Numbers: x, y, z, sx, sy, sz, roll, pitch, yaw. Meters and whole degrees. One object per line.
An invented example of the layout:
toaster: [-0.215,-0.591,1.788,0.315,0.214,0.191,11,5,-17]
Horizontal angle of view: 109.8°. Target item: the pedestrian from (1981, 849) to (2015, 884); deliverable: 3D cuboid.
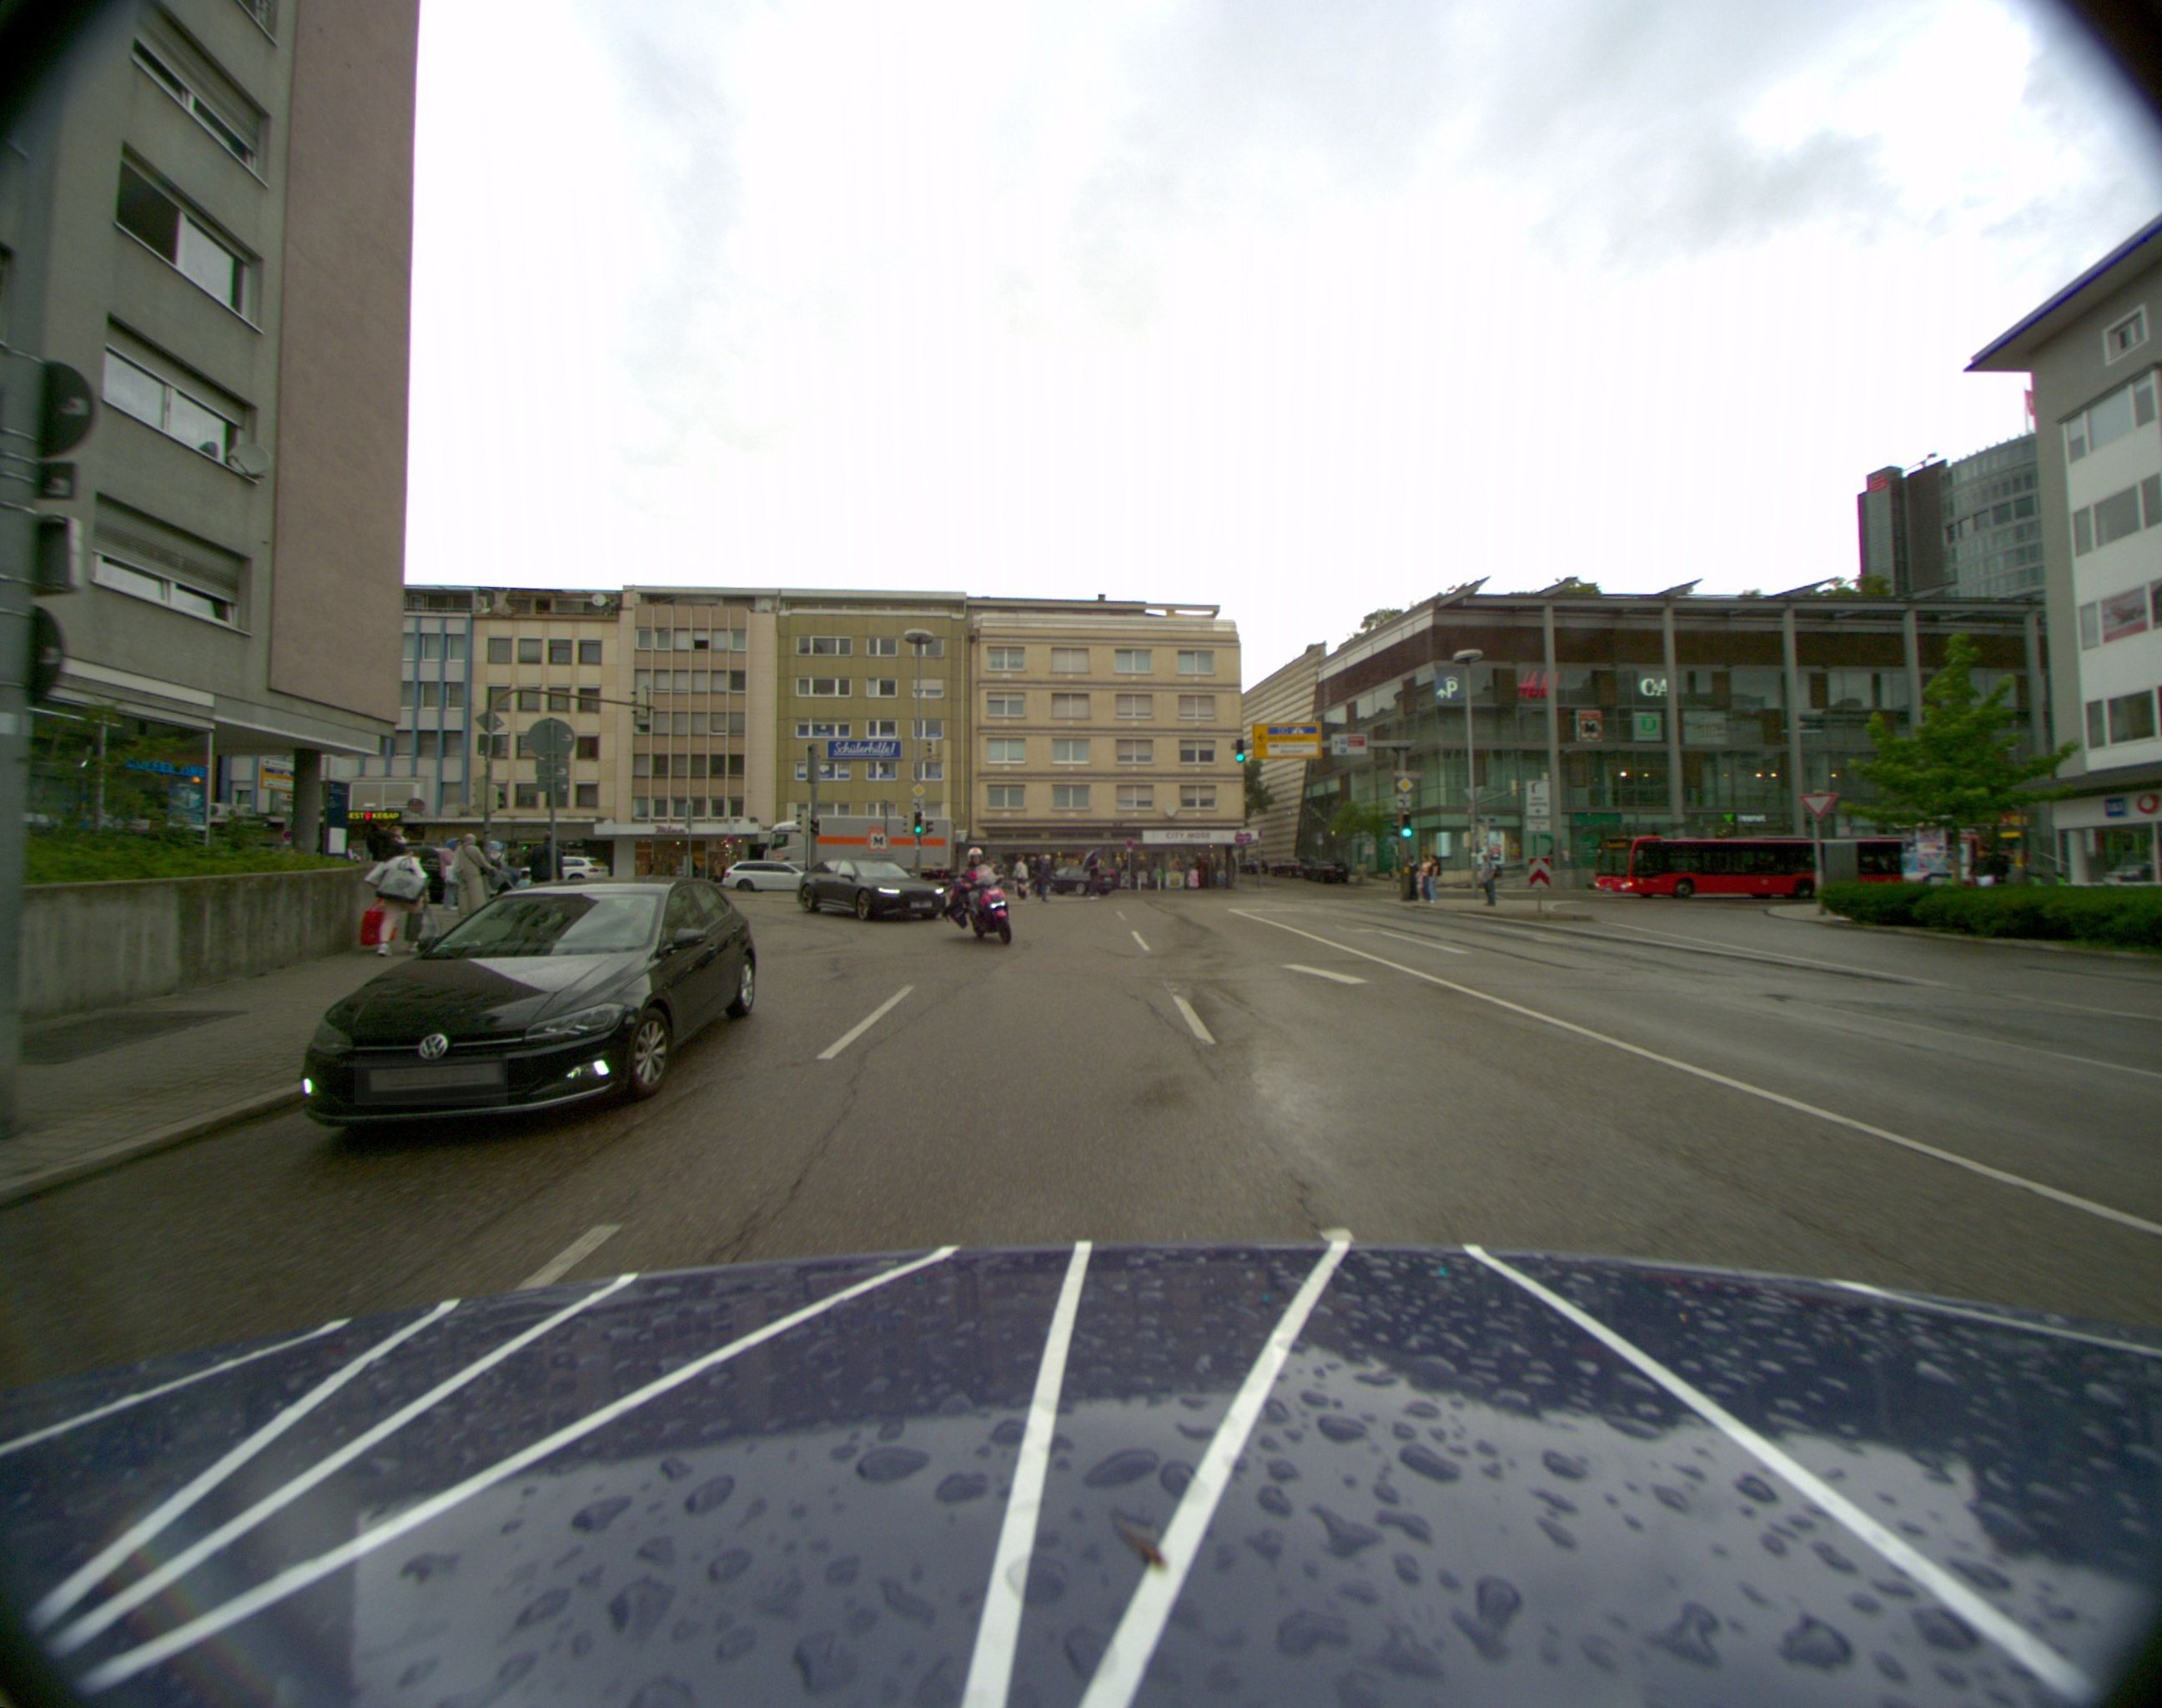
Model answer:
pedestrian: [47.331,0.646,39.238,0.627,1.792,0.906,1,0,1]

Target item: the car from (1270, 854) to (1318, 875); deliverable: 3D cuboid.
car: [17.662,0.841,63.253,1.899,1.537,4.375,-2,1,-14]

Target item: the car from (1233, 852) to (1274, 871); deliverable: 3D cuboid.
car: [15.897,0.666,70.278,1.899,1.537,4.375,-2,1,-14]

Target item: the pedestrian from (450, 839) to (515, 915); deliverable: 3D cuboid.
pedestrian: [-13.642,0.536,17.350,0.838,1.626,0.541,5,-5,-4]

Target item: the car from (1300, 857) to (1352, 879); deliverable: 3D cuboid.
car: [18.551,1.031,57.755,1.806,1.537,4.291,0,0,-14]

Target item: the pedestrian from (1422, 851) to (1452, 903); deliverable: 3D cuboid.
pedestrian: [11.789,0.751,25.185,0.638,1.679,0.784,0,0,5]

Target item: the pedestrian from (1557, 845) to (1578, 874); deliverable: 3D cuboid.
pedestrian: [33.272,0.398,52.010,0.849,1.968,0.877,1,0,-5]

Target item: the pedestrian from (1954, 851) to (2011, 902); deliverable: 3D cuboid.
pedestrian: [31.969,0.778,26.960,0.800,1.765,1.024,1,0,-10]

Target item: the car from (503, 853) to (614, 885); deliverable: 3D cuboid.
car: [-30.035,0.863,43.778,4.961,1.816,1.855,1,-1,-4]

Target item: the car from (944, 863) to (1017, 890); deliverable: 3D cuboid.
car: [-5.969,1.347,45.463,4.199,1.554,1.705,0,-1,-3]

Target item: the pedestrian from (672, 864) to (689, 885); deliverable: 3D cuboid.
pedestrian: [-24.737,1.267,46.935,0.720,1.242,0.536,0,0,-6]

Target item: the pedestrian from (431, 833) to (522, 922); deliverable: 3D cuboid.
pedestrian: [-12.021,0.473,15.148,0.837,1.711,1.040,1,-3,13]

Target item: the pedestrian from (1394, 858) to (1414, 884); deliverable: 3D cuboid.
pedestrian: [22.256,1.177,52.310,0.696,1.751,1.046,1,-1,-33]

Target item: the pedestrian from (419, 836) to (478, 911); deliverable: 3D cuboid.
pedestrian: [-14.199,0.440,17.068,0.594,1.624,0.747,2,-4,37]

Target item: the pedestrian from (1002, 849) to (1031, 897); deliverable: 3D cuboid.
pedestrian: [-2.290,0.674,27.098,0.914,1.662,0.981,0,0,1]

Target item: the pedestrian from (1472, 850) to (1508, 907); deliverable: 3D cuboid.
pedestrian: [12.999,0.768,24.167,0.617,1.768,0.831,0,0,-10]

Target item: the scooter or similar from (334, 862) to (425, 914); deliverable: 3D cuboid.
scooter or similar: [-14.507,0.715,15.748,1.048,0.980,0.773,4,-3,-5]

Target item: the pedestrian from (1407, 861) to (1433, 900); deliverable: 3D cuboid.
pedestrian: [11.786,0.919,26.420,0.588,1.331,0.631,0,0,-10]

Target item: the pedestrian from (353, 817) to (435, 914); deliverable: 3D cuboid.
pedestrian: [-13.724,0.258,15.208,0.658,1.852,0.839,4,-4,0]

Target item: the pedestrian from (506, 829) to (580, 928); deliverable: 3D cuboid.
pedestrian: [-10.576,0.489,14.957,0.785,1.855,0.619,4,-4,12]

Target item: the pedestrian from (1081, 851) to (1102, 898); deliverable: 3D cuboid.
pedestrian: [0.391,0.756,28.171,0.693,1.682,0.759,2,0,0]

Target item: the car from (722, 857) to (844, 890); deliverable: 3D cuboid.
car: [-12.991,0.861,33.366,4.630,1.407,1.798,0,-1,-5]

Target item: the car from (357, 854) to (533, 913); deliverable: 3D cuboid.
car: [-17.835,0.768,21.330,4.095,1.538,1.875,0,0,18]

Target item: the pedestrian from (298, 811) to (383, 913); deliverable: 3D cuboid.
pedestrian: [-14.475,0.168,14.870,0.731,1.919,0.821,2,-2,4]

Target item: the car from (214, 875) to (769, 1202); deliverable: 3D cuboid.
car: [-3.826,1.000,5.916,1.744,1.423,3.875,-1,2,-10]

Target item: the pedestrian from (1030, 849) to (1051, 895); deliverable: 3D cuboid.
pedestrian: [-1.534,0.678,28.766,0.706,1.701,0.786,2,0,0]

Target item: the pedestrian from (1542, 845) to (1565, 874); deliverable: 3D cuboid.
pedestrian: [32.310,0.384,51.963,0.974,1.968,0.883,1,0,-5]

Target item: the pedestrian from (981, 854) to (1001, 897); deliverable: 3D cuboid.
pedestrian: [-3.147,0.751,26.512,0.560,1.479,0.707,2,0,0]

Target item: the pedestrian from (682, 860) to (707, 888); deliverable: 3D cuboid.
pedestrian: [-23.544,1.188,46.310,1.086,1.685,0.954,0,0,-6]

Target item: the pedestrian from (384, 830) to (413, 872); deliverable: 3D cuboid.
pedestrian: [-13.658,-0.063,15.209,0.440,0.842,0.221,1,1,17]

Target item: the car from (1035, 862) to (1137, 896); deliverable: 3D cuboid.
car: [0.212,1.199,36.665,4.620,1.417,2.005,1,-2,39]

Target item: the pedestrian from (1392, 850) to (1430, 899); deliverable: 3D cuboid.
pedestrian: [12.084,0.746,27.819,0.853,1.777,1.012,0,0,-10]

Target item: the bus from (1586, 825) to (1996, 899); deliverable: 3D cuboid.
bus: [35.301,0.435,38.086,18.468,3.301,2.929,1,0,-3]

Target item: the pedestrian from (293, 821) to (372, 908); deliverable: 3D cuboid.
pedestrian: [-15.339,0.224,15.589,0.617,1.711,0.839,3,-2,4]

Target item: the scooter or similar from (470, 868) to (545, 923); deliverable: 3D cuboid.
scooter or similar: [-11.862,0.862,15.742,0.654,1.102,0.975,1,-3,15]

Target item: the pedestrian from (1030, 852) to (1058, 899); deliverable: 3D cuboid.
pedestrian: [-1.265,0.738,26.086,0.854,1.559,0.715,1,0,0]

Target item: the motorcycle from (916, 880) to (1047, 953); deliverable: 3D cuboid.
motorcycle: [-1.805,1.052,13.506,1.317,1.128,2.179,2,-1,-40]

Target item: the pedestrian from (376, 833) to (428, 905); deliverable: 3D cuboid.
pedestrian: [-16.321,0.365,18.275,0.780,1.681,0.629,1,-3,31]

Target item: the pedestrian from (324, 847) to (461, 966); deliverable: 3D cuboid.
pedestrian: [-9.393,0.699,10.432,1.060,1.522,1.025,3,0,-24]

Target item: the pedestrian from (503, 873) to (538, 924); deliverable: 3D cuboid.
pedestrian: [-11.369,0.902,15.422,0.471,0.993,0.262,1,-6,19]

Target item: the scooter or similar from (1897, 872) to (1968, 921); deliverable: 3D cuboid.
scooter or similar: [21.653,1.068,19.350,0.543,1.179,1.386,0,-2,16]

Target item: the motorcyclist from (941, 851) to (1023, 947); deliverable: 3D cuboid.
motorcyclist: [-1.746,0.767,13.430,1.096,1.595,0.950,1,-1,-41]

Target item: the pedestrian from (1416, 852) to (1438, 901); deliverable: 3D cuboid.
pedestrian: [11.769,0.758,25.853,0.501,1.659,0.571,0,-1,3]

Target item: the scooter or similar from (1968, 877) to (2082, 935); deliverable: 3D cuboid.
scooter or similar: [23.121,1.256,18.666,0.929,1.248,1.504,-8,-3,15]

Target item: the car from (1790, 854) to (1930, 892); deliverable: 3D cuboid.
car: [44.632,1.085,43.629,5.907,2.063,2.451,0,0,-6]

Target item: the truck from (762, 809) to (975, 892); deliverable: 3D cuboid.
truck: [-11.342,-0.146,41.385,10.766,4.307,2.855,0,-1,-3]

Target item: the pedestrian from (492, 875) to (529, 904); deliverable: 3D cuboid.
pedestrian: [-11.829,0.739,15.755,0.457,0.567,0.373,1,-3,15]

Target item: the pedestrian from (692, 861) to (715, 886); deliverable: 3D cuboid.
pedestrian: [-22.858,1.165,45.984,1.065,1.475,0.668,0,0,-6]

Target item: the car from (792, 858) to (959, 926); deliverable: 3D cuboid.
car: [-5.289,0.887,19.152,2.005,1.482,4.721,2,-2,-44]
